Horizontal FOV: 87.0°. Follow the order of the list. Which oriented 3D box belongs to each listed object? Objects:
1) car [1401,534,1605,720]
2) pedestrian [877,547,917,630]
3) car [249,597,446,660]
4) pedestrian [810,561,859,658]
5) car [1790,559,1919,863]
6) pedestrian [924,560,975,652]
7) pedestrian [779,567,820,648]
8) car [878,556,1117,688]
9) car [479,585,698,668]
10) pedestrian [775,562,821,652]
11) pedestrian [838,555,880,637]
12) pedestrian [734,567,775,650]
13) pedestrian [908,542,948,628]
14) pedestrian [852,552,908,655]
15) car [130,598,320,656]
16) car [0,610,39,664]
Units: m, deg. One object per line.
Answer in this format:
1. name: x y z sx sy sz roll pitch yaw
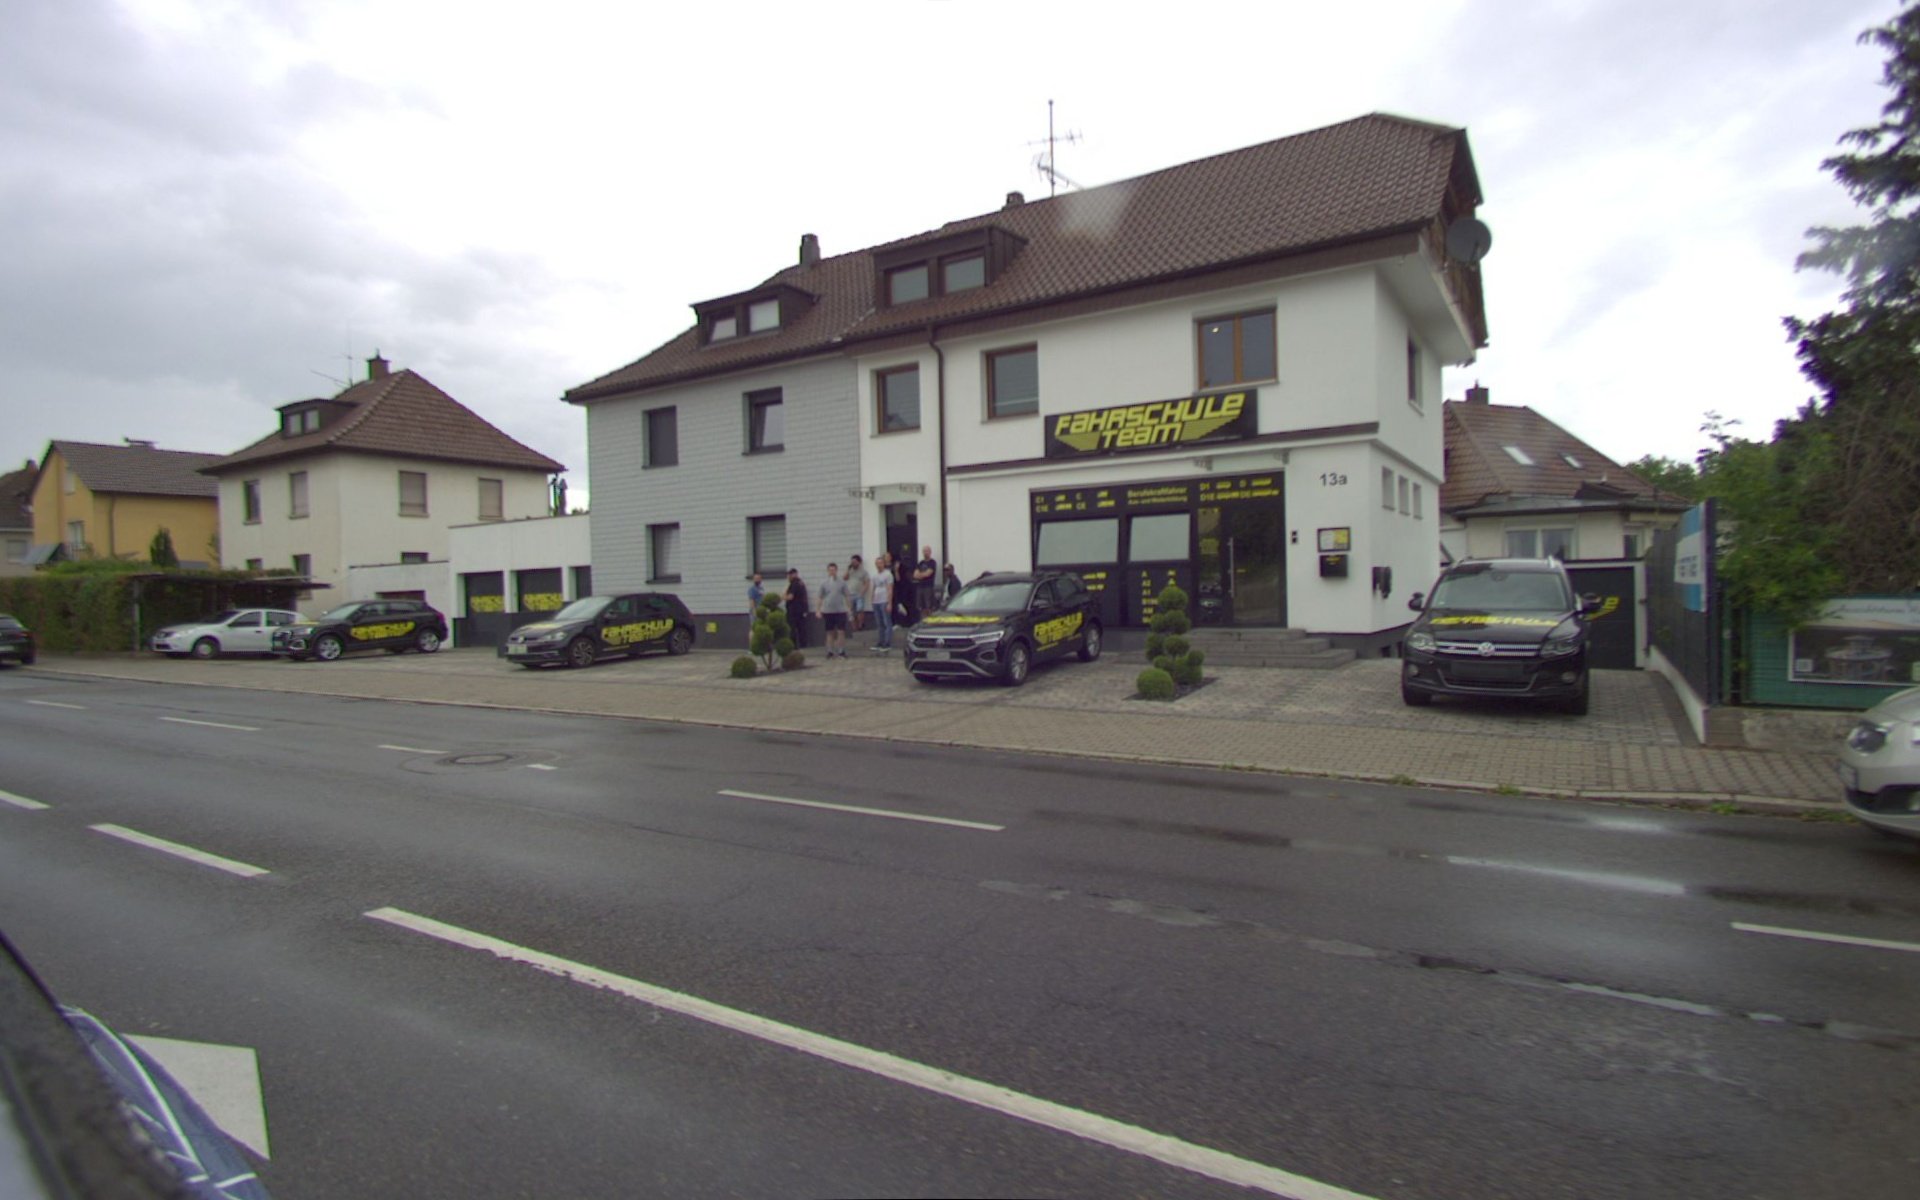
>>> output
1. car: 6.631 0.164 12.119 1.735 1.733 4.147 -1 4 34
2. pedestrian: -1.310 -0.246 21.111 0.549 1.682 0.569 -1 3 32
3. car: -16.135 0.701 26.863 1.879 1.430 4.066 -1 1 33
4. pedestrian: -2.405 0.165 19.420 0.539 1.802 0.662 0 3 37
5. car: 6.908 0.579 5.020 4.132 1.580 1.790 0 0 34
6. pedestrian: -0.202 0.091 19.211 0.664 1.682 0.693 -4 3 -27
7. pedestrian: -3.505 0.160 22.147 0.560 1.720 0.582 -1 3 32
8. car: 0.718 0.256 15.837 1.868 1.576 3.956 -2 4 34
9. car: -7.702 0.491 21.319 1.879 1.430 3.955 -1 2 33
10. pedestrian: -3.378 0.141 21.065 0.643 1.800 0.649 -3 1 -33
11. pedestrian: -2.100 -0.085 21.146 0.574 1.682 0.578 -1 3 32
12. pedestrian: -4.481 0.171 22.057 0.687 1.766 0.442 -1 3 34
13. pedestrian: -0.638 -0.308 20.170 0.512 1.682 0.511 0 3 39
14. pedestrian: -1.519 0.055 19.284 0.685 1.880 0.726 0 3 39
15. car: -21.386 0.850 29.618 1.831 1.495 4.075 -1 -5 26
16. car: -26.950 0.997 27.633 3.989 1.426 1.790 -1 -1 34
